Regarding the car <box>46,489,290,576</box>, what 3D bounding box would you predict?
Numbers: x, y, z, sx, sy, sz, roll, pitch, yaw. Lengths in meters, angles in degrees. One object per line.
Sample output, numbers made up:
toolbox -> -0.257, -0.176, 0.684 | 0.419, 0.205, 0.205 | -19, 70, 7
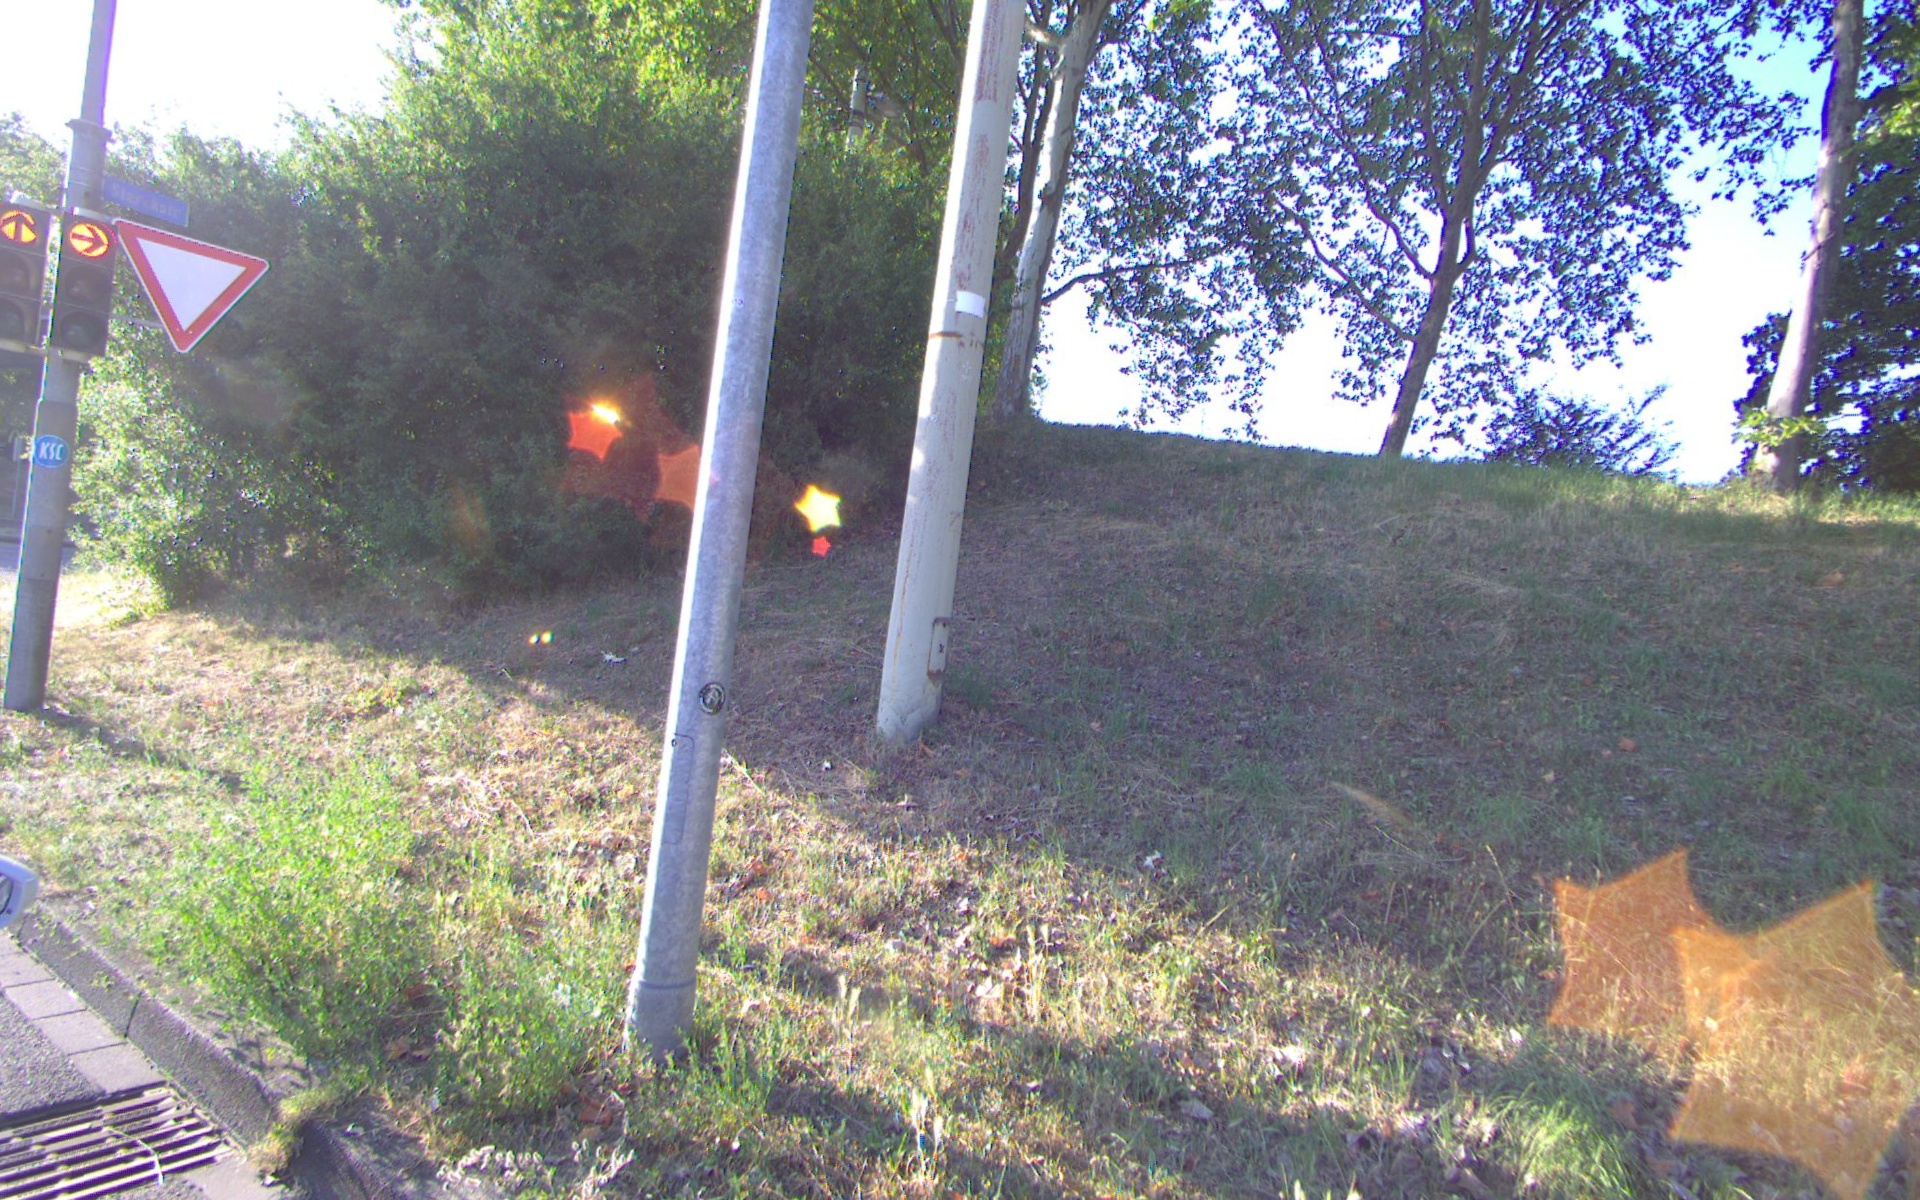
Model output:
car -> -21.617, -1.765, 27.841 | 1.707, 1.593, 5.373 | 7, -1, 11
